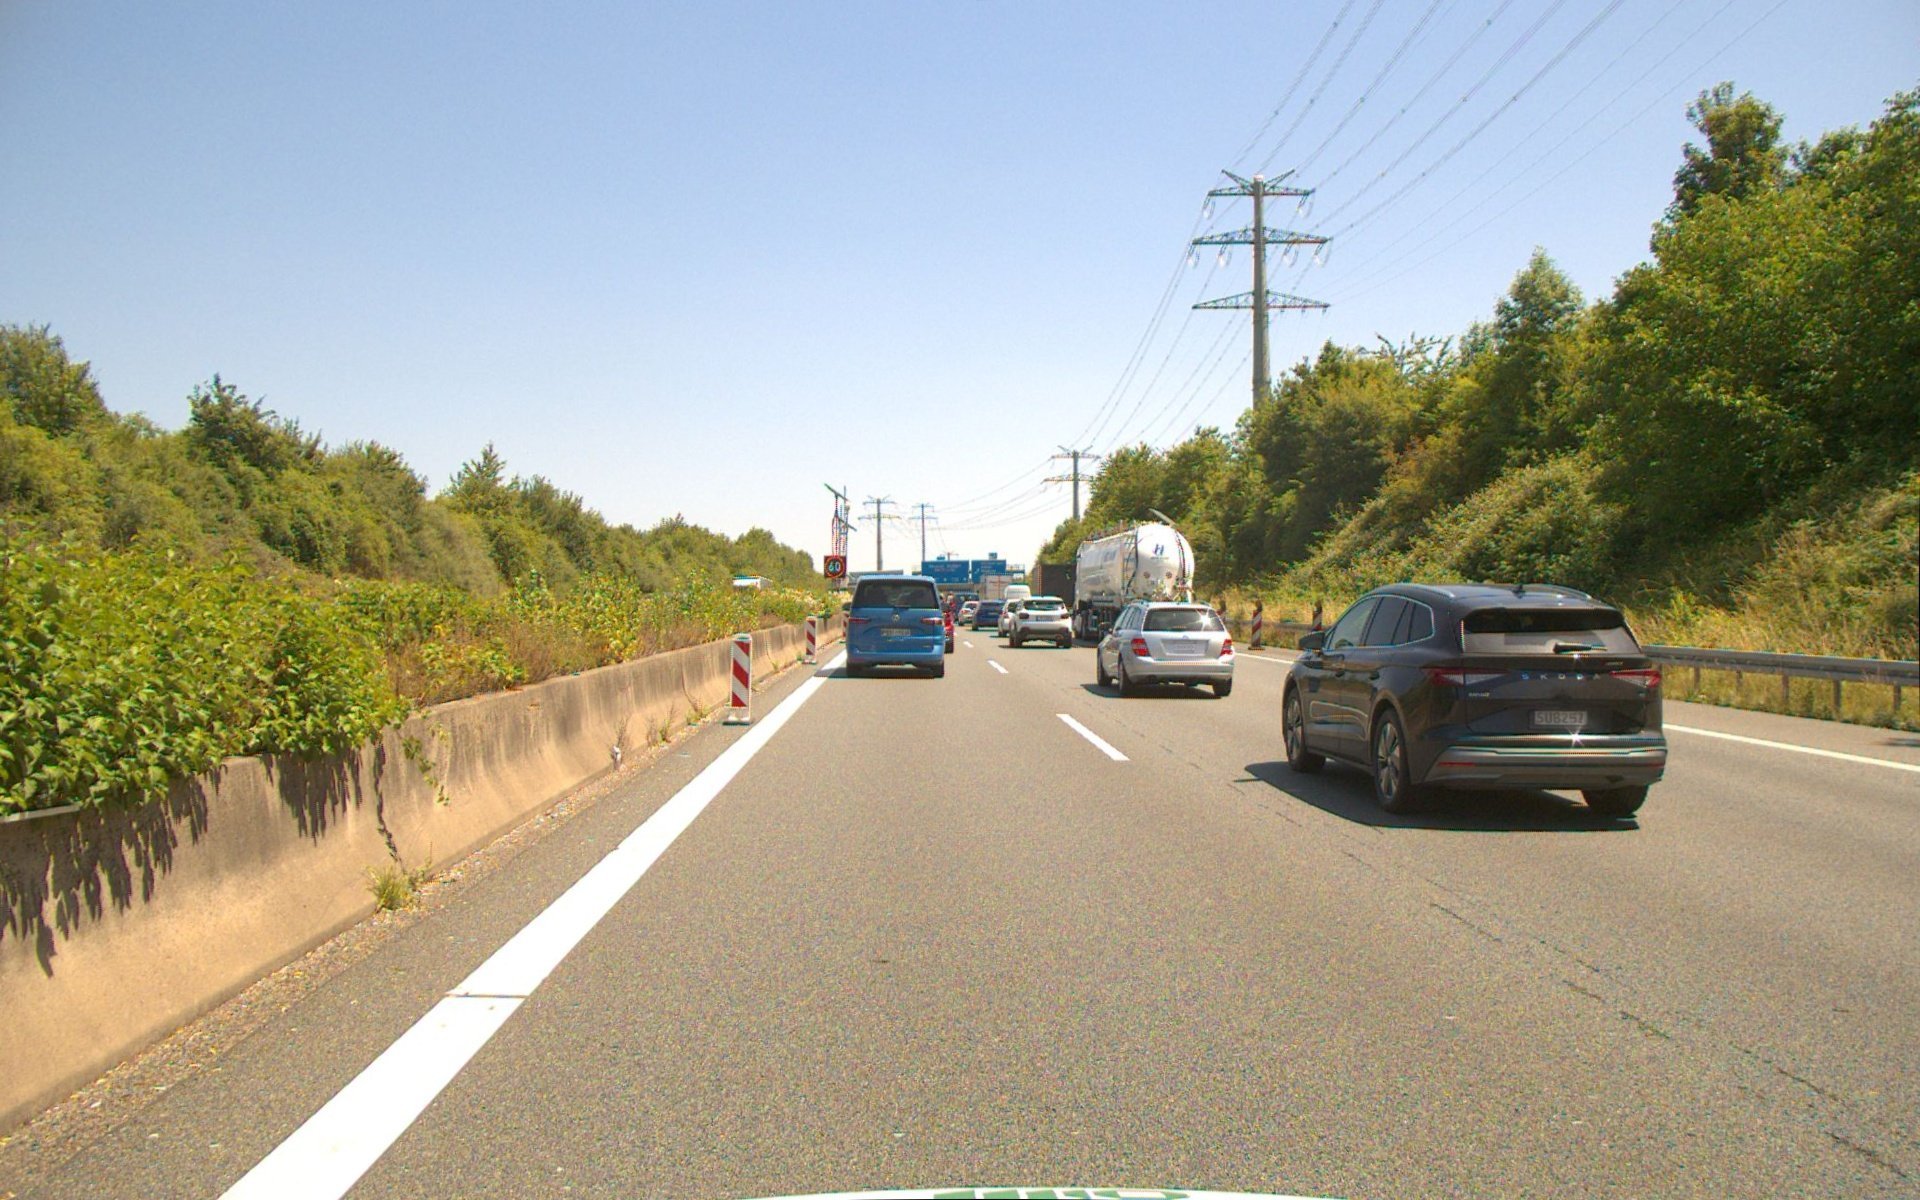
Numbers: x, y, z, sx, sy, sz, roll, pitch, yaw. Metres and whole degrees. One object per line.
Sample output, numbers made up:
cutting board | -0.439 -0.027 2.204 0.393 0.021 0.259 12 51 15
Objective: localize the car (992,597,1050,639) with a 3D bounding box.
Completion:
car | 2.408 0.702 66.182 1.870 1.597 4.380 1 0 -4

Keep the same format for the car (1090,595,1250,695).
car | 3.317 0.678 26.943 1.785 1.462 4.380 1 0 -4

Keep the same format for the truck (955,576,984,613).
truck | 1.123 -0.643 205.894 2.879 4.366 12.545 1 0 -3

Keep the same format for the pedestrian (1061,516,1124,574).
pedestrian | 4.980 -2.043 62.599 1.953 2.049 3.999 1 0 -1

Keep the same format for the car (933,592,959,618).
car | -1.161 0.370 133.060 1.954 2.049 3.998 1 0 -3

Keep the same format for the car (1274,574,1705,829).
car | 3.860 0.651 12.941 1.791 1.642 4.428 0 0 -3

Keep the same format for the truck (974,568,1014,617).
truck | 3.141 -0.698 154.889 2.879 4.366 12.545 1 0 -3

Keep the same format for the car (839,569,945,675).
car | -1.401 0.411 32.406 1.834 1.912 4.379 1 0 -5

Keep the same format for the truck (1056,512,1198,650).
truck | 5.566 -0.565 58.636 2.592 4.143 16.431 1 0 -3

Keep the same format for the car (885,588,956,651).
car | -1.144 0.518 46.218 1.870 1.659 4.381 0 0 -3

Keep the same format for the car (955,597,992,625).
car | 0.749 0.636 96.921 1.870 1.542 4.380 1 0 -4

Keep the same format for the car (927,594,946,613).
car | -2.676 0.408 188.532 1.954 2.049 3.998 1 0 -3

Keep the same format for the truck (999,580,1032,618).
truck | 4.164 -0.047 125.016 1.954 2.771 5.677 1 0 -3

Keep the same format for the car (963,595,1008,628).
car | 1.226 0.531 80.678 1.870 1.542 4.380 1 0 -4

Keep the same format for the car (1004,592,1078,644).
car | 2.479 0.554 51.561 1.870 1.534 3.919 1 0 -4

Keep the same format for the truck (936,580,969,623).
truck | -0.539 0.113 110.075 1.954 2.771 5.677 1 0 -3

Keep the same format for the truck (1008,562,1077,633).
truck | 4.404 -0.108 91.229 2.592 3.600 12.545 1 0 -3

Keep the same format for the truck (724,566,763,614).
truck | -19.988 -0.922 152.924 2.696 4.239 6.408 -3 0 -2
